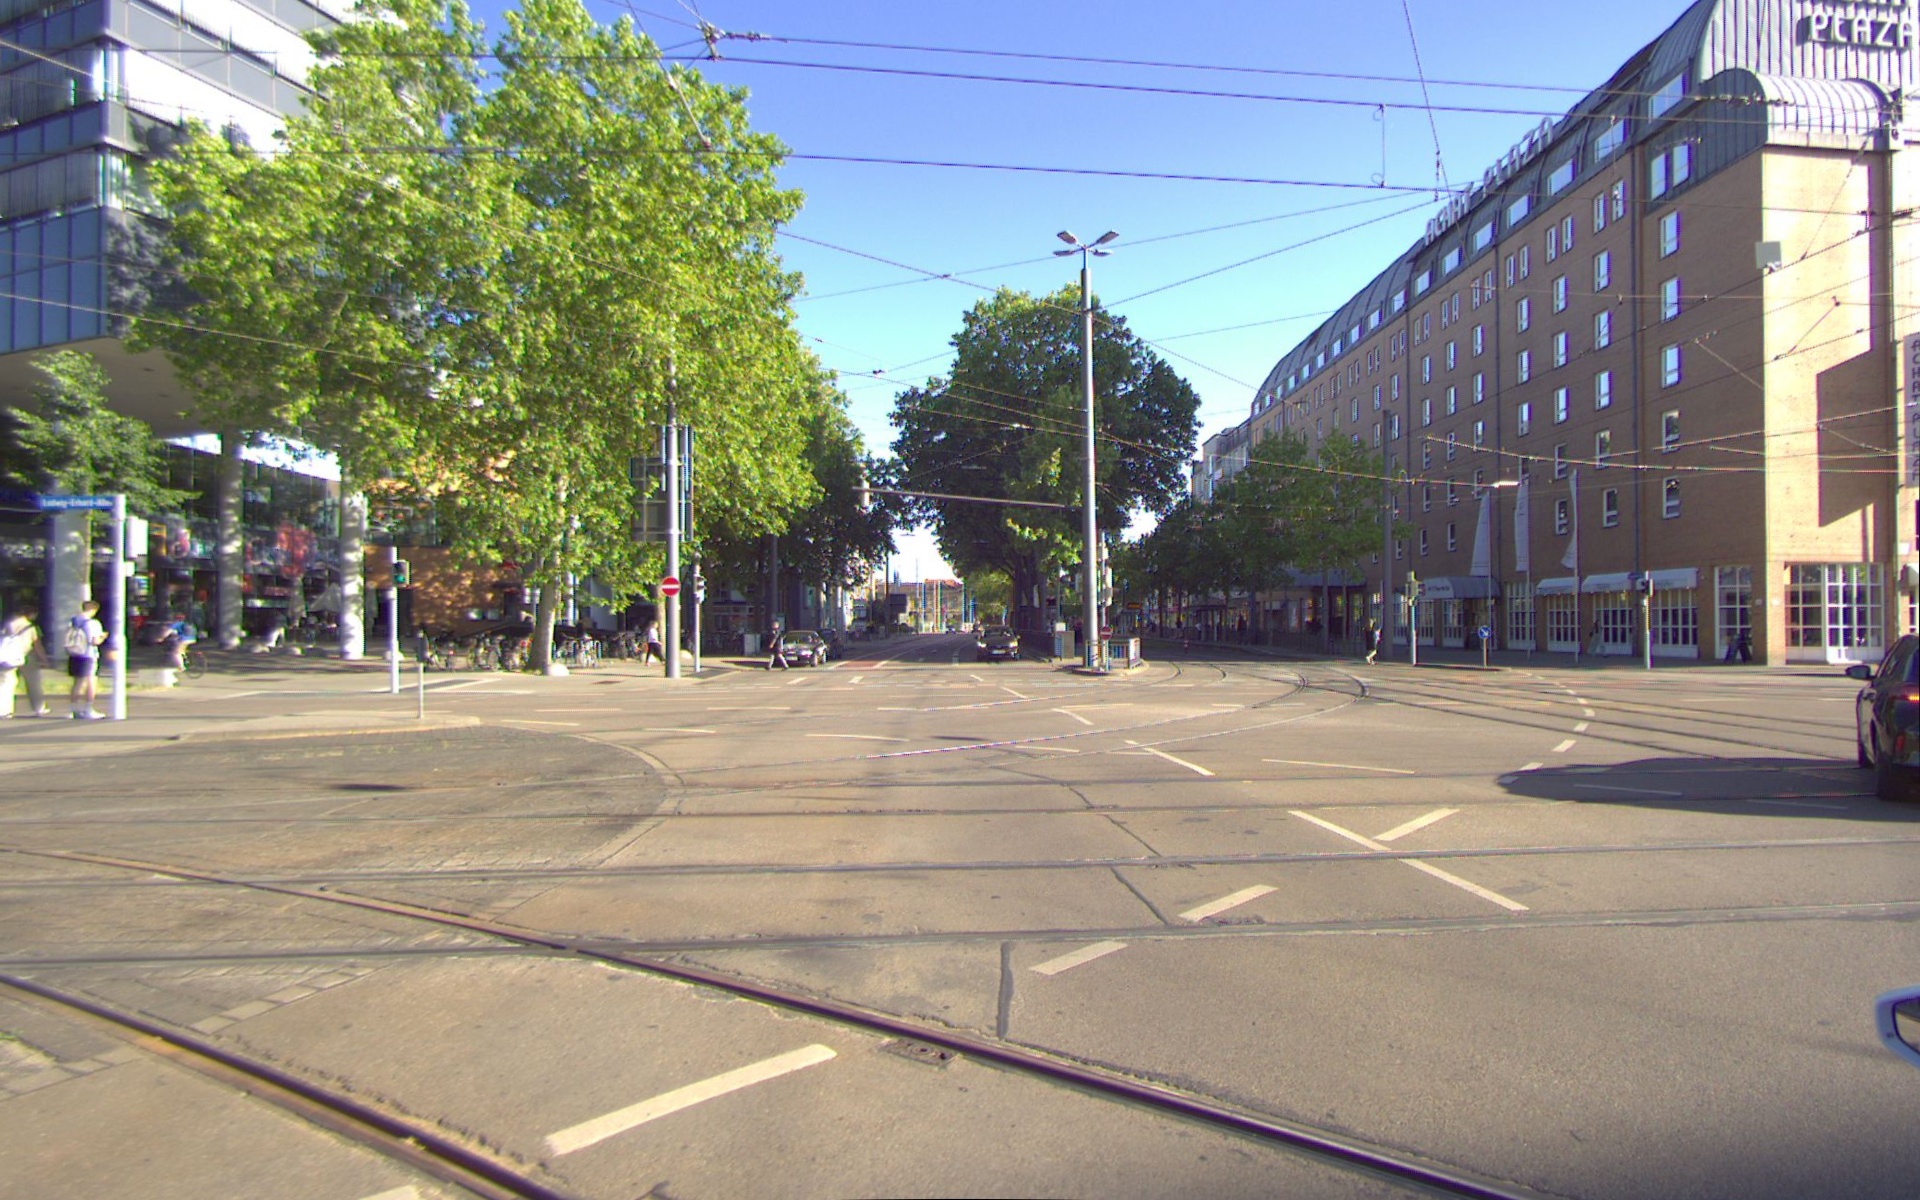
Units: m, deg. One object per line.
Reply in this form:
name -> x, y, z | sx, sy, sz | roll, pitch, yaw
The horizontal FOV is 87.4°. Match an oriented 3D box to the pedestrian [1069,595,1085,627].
pedestrian -> 6.713, 0.627, 57.570 | 0.582, 1.853, 0.743 | 0, -1, 33

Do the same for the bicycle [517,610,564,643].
bicycle -> -15.212, 0.974, 36.479 | 0.587, 1.143, 2.368 | 0, -2, 3

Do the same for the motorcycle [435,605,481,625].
motorcycle -> -27.833, 0.859, 55.696 | 2.295, 1.072, 0.833 | 0, -1, 13

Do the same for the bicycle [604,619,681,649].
bicycle -> -14.824, 1.587, 46.934 | 3.303, 1.371, 1.033 | 1, -1, -12

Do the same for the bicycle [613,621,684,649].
bicycle -> -15.601, 1.744, 50.385 | 3.303, 1.371, 1.033 | 1, -1, -12

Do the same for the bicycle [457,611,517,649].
bicycle -> -14.660, 0.941, 31.224 | 0.587, 1.143, 2.368 | 0, -2, 5

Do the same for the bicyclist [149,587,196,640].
bicyclist -> -22.531, 0.399, 28.742 | 0.739, 1.480, 0.694 | 1, -1, 4

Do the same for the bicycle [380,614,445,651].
bicycle -> -17.306, 1.024, 31.804 | 0.587, 1.143, 2.368 | 0, -2, 5

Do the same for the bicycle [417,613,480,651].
bicycle -> -15.847, 0.984, 31.201 | 0.587, 1.143, 2.368 | 0, -2, 5

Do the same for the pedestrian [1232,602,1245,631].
pedestrian -> 16.802, 0.986, 60.613 | 0.594, 1.702, 0.486 | -1, -1, 2

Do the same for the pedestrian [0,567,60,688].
pedestrian -> -15.125, 0.441, 16.099 | 0.685, 1.894, 0.734 | 1, -1, 3

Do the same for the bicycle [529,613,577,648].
bicycle -> -13.966, 1.042, 34.537 | 0.587, 1.143, 2.368 | 0, -2, 3

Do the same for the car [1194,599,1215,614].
car -> 28.011, 0.786, 114.980 | 1.644, 1.674, 3.692 | 1, -1, 3

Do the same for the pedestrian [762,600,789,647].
pedestrian -> -6.754, 0.877, 36.829 | 0.814, 1.702, 0.717 | -1, -1, 5

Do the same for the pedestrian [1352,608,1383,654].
pedestrian -> 15.372, 1.179, 37.915 | 0.815, 1.702, 0.716 | -1, -1, -4

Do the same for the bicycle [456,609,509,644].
bicycle -> -16.521, 0.921, 34.809 | 0.587, 1.143, 2.368 | 0, -2, 3

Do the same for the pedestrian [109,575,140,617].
pedestrian -> -34.046, -0.170, 40.938 | 0.685, 1.674, 0.705 | 1, -1, 23

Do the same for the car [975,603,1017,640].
car -> 1.492, 0.928, 41.890 | 1.638, 1.433, 4.002 | 1, -2, 2

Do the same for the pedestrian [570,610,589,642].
pedestrian -> -20.178, 1.360, 53.328 | 0.685, 1.674, 0.706 | 1, -1, 2

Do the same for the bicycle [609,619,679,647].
bicycle -> -16.287, 1.704, 51.816 | 3.303, 1.371, 1.033 | 1, -1, -12

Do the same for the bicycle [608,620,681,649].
bicycle -> -15.324, 1.676, 48.893 | 3.303, 1.371, 1.033 | 1, -1, -12

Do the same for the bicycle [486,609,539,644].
bicycle -> -15.109, 0.897, 33.974 | 0.587, 1.143, 2.368 | 0, -2, 3

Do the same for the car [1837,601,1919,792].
car -> 9.207, 0.765, 9.104 | 1.651, 1.522, 3.675 | -1, 0, 37

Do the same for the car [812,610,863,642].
car -> -5.771, 1.241, 47.624 | 1.638, 1.425, 4.002 | 1, -2, 4

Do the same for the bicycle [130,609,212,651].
bicycle -> -22.572, 0.859, 28.738 | 1.814, 1.152, 0.694 | 1, -1, 4

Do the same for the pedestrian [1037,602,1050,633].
pedestrian -> 4.968, 1.036, 59.908 | 0.581, 1.824, 0.745 | 1, -1, 17

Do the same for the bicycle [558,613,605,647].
bicycle -> -12.898, 1.028, 34.303 | 0.587, 1.143, 2.368 | 0, -2, 3

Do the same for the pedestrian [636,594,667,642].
pedestrian -> -11.180, 0.652, 36.413 | 0.814, 1.702, 0.717 | -1, -1, 11

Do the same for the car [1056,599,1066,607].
car -> 20.609, 0.698, 205.196 | 1.586, 1.521, 3.691 | 1, -1, 1

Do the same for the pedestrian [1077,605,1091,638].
pedestrian -> 7.000, 1.216, 56.700 | 0.624, 1.853, 0.744 | 1, -1, -3

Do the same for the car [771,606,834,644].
car -> -6.246, 1.024, 40.161 | 1.638, 1.425, 4.002 | 1, -2, 4

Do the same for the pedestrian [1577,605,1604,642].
pedestrian -> 28.776, 1.072, 45.827 | 0.727, 1.688, 0.753 | 0, -1, -4

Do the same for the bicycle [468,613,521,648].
bicycle -> -15.757, 1.032, 34.080 | 0.587, 1.143, 2.368 | 0, -2, 3

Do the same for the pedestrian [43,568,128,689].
pedestrian -> -14.068, 0.459, 16.179 | 0.660, 1.894, 0.734 | 1, -1, 2
